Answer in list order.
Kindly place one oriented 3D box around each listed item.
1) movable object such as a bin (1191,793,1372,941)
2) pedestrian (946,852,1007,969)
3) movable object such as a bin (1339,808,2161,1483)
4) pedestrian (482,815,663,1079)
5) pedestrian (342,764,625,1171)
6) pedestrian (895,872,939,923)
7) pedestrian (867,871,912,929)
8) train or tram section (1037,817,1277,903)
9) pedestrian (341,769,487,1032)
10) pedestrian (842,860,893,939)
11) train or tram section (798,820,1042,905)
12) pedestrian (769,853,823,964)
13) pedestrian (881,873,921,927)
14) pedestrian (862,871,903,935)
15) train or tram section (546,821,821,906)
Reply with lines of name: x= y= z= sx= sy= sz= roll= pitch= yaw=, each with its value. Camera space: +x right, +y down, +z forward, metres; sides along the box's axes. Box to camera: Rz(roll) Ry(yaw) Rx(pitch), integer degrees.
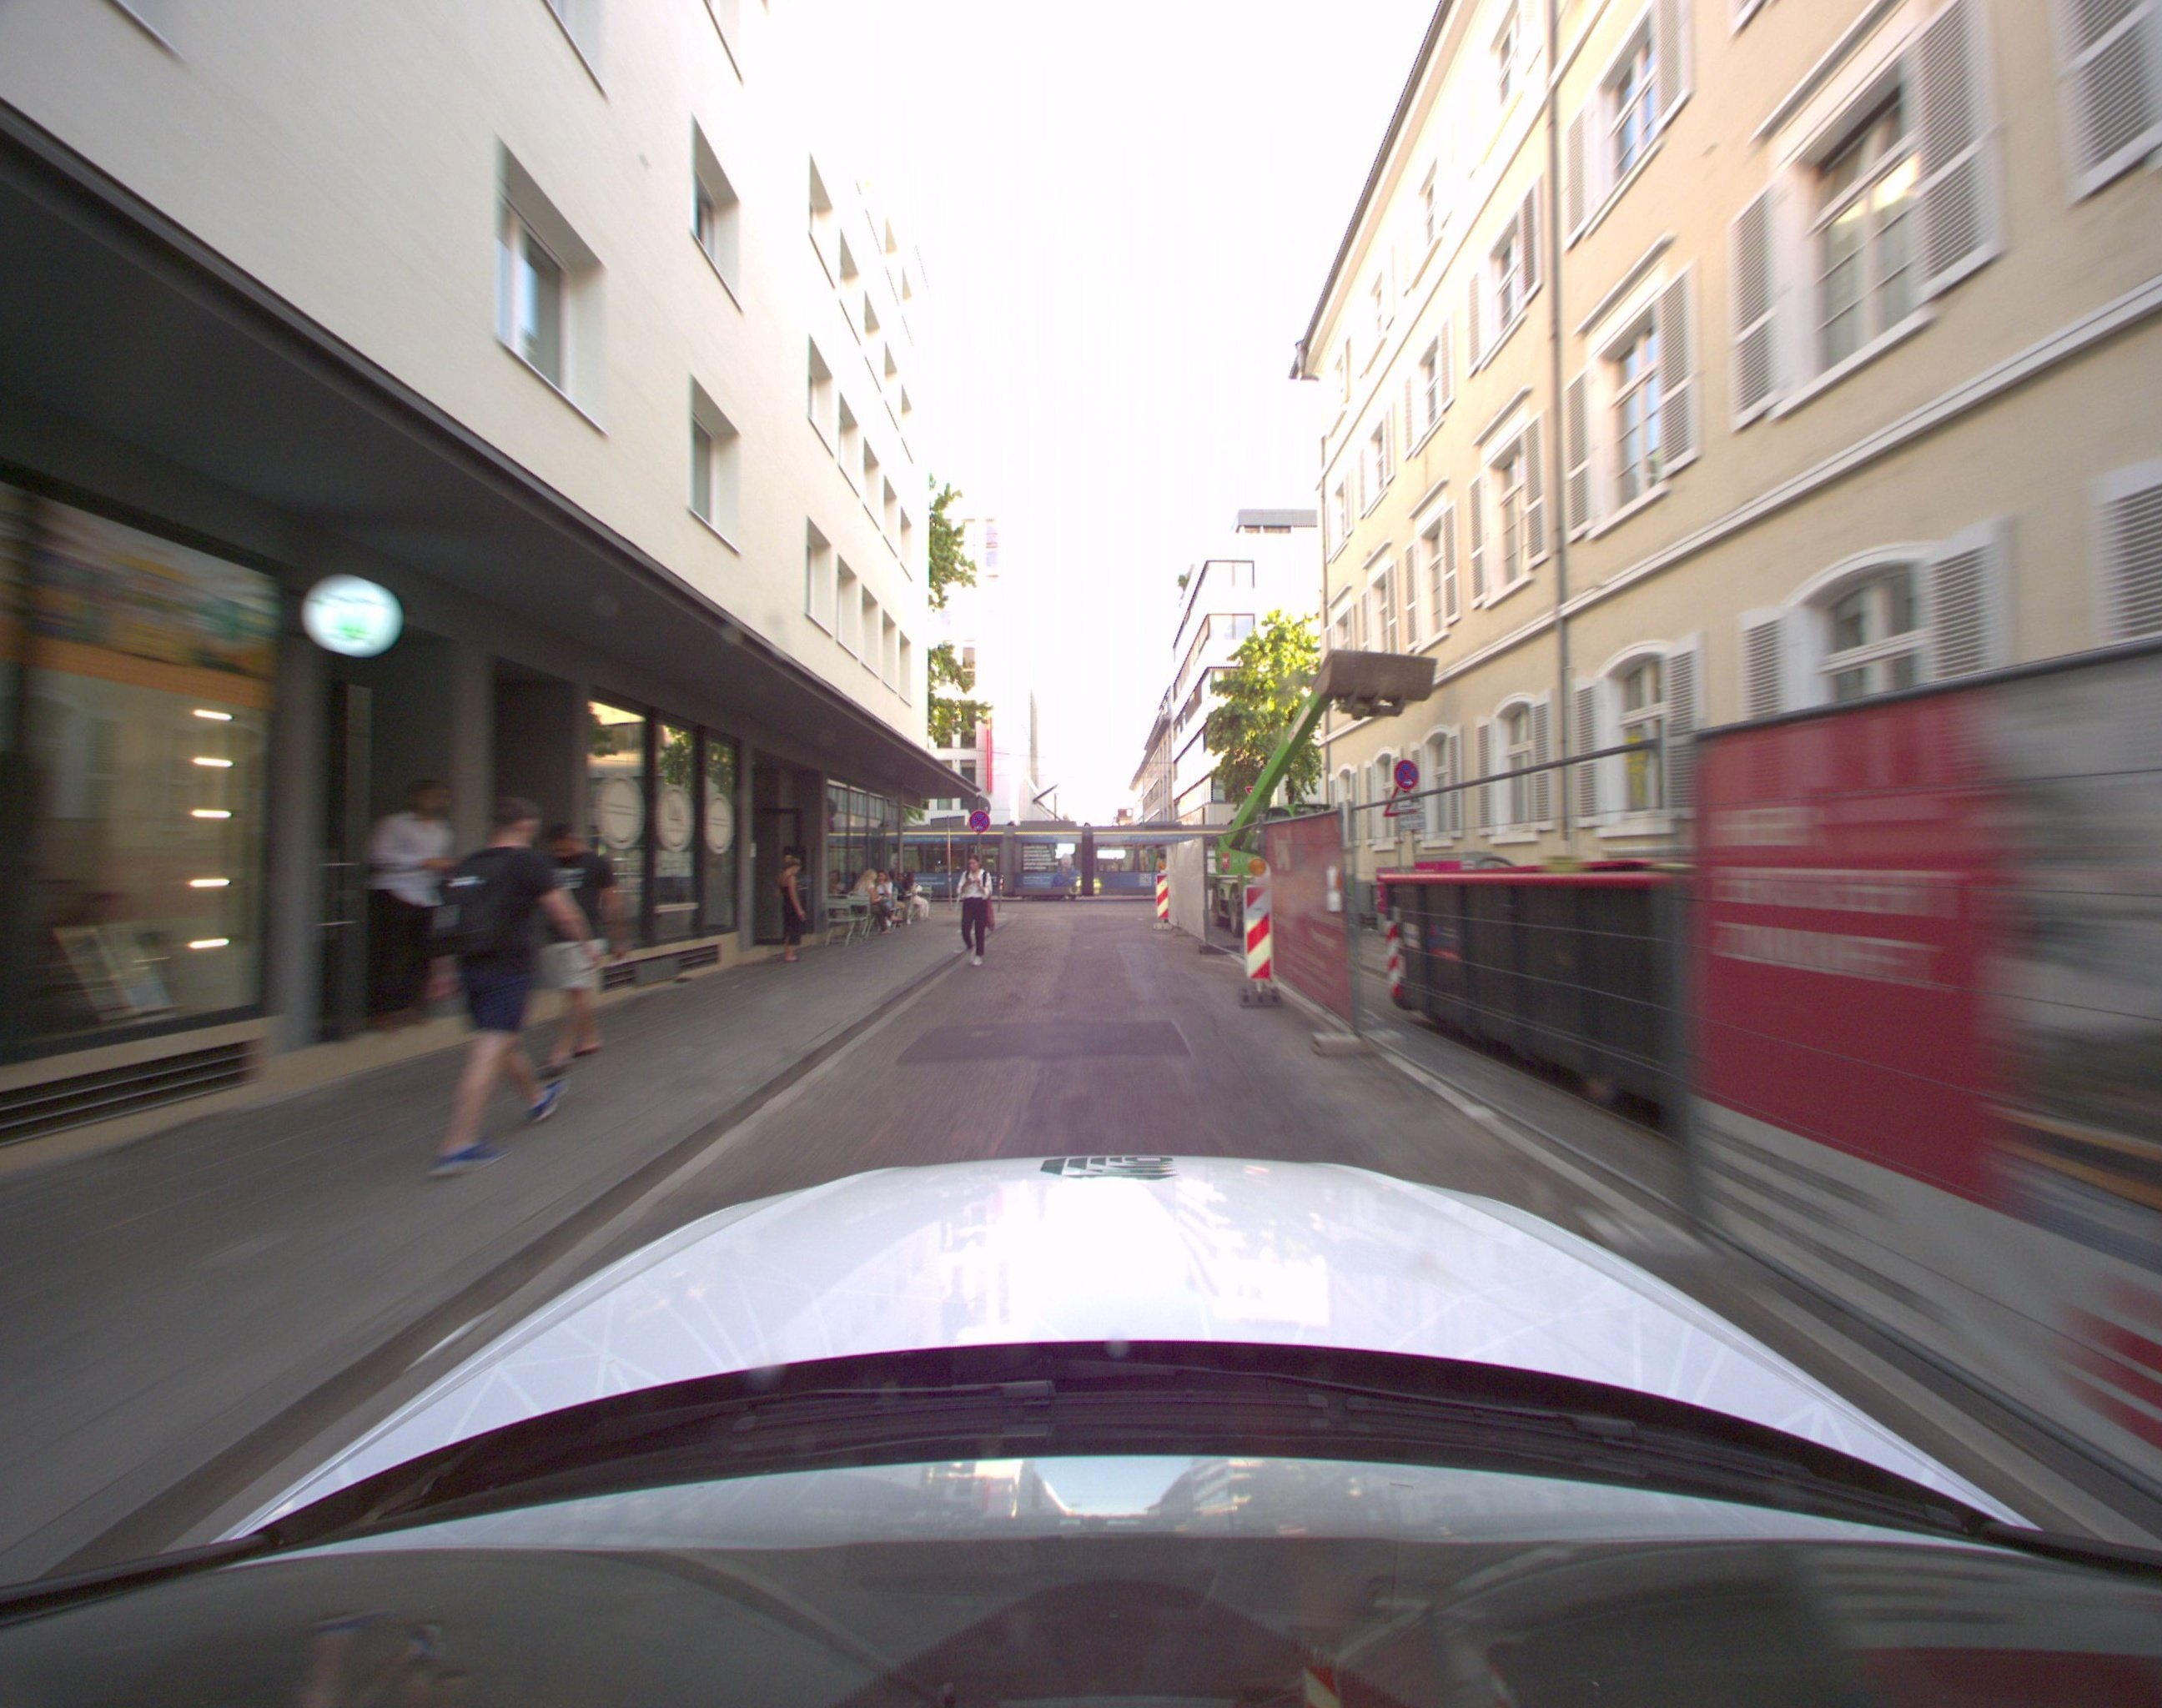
movable object such as a bin: x=4.347 y=0.284 z=18.899 sx=2.628 sy=2.873 sz=5.561 roll=-1 pitch=-1 yaw=-2
pedestrian: x=-1.623 y=0.862 z=12.752 sx=0.754 sy=1.739 sz=0.785 roll=-3 pitch=-1 yaw=2
movable object such as a bin: x=4.055 y=0.698 z=4.422 sx=2.882 sy=1.665 sz=7.290 roll=-1 pitch=0 yaw=-1
pedestrian: x=-3.667 y=0.632 z=5.960 sx=0.701 sy=1.782 sz=0.932 roll=0 pitch=-1 yaw=0
pedestrian: x=-2.957 y=0.514 z=4.136 sx=0.712 sy=1.811 sz=0.933 roll=-2 pitch=-1 yaw=1
pedestrian: x=-4.114 y=1.074 z=20.433 sx=0.697 sy=1.219 sz=0.847 roll=-1 pitch=-1 yaw=37
pedestrian: x=-4.270 y=1.012 z=18.186 sx=0.701 sy=1.240 sz=0.778 roll=3 pitch=-1 yaw=4
train or tram section: x=3.295 y=0.290 z=36.730 sx=10.303 sy=3.524 sz=3.025 roll=-1 pitch=-2 yaw=-1
pedestrian: x=-4.863 y=0.327 z=5.972 sx=0.542 sy=1.811 sz=0.613 roll=-2 pitch=-1 yaw=0
pedestrian: x=-4.261 y=0.891 z=16.291 sx=0.700 sy=1.548 sz=0.863 roll=0 pitch=-1 yaw=8
train or tram section: x=-7.021 y=0.403 z=36.632 sx=10.334 sy=3.524 sz=3.016 roll=-1 pitch=-2 yaw=0
pedestrian: x=-4.205 y=0.778 z=11.991 sx=0.660 sy=1.570 sz=0.633 roll=1 pitch=-1 yaw=-26
pedestrian: x=-4.224 y=1.073 z=19.136 sx=0.701 sy=1.195 sz=0.692 roll=2 pitch=-1 yaw=3
pedestrian: x=-4.209 y=1.016 z=17.215 sx=0.707 sy=1.286 sz=0.854 roll=1 pitch=-1 yaw=-24
train or tram section: x=-17.571 y=0.440 z=36.553 sx=10.774 sy=3.524 sz=3.012 roll=-1 pitch=-2 yaw=0
